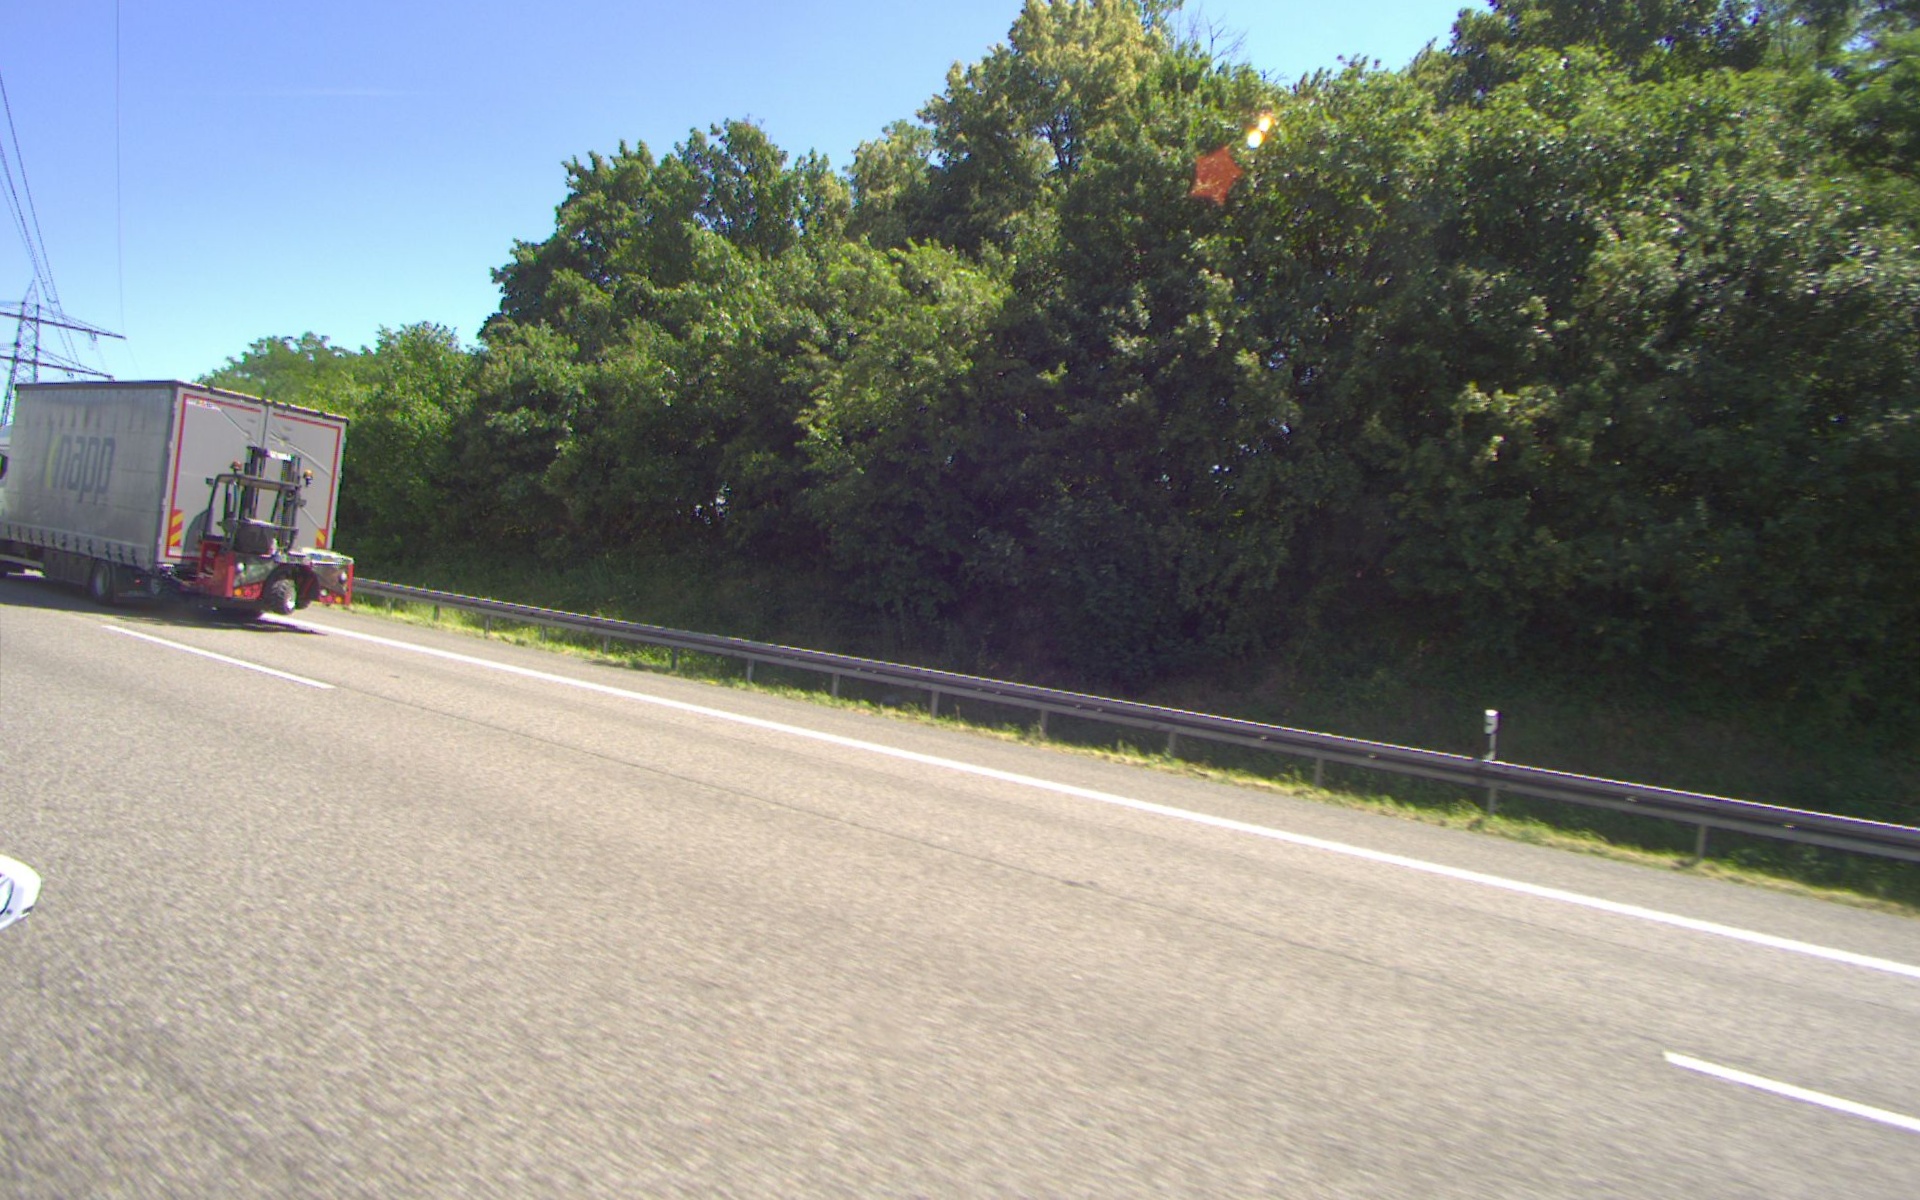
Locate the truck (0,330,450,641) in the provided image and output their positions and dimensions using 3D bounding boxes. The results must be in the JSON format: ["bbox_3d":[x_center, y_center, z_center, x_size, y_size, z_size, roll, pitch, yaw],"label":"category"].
[{"bbox_3d":[-14.980,-2.137,19.052,11.457,4.293,3.579,6,-2,31],"label":"truck"}]
